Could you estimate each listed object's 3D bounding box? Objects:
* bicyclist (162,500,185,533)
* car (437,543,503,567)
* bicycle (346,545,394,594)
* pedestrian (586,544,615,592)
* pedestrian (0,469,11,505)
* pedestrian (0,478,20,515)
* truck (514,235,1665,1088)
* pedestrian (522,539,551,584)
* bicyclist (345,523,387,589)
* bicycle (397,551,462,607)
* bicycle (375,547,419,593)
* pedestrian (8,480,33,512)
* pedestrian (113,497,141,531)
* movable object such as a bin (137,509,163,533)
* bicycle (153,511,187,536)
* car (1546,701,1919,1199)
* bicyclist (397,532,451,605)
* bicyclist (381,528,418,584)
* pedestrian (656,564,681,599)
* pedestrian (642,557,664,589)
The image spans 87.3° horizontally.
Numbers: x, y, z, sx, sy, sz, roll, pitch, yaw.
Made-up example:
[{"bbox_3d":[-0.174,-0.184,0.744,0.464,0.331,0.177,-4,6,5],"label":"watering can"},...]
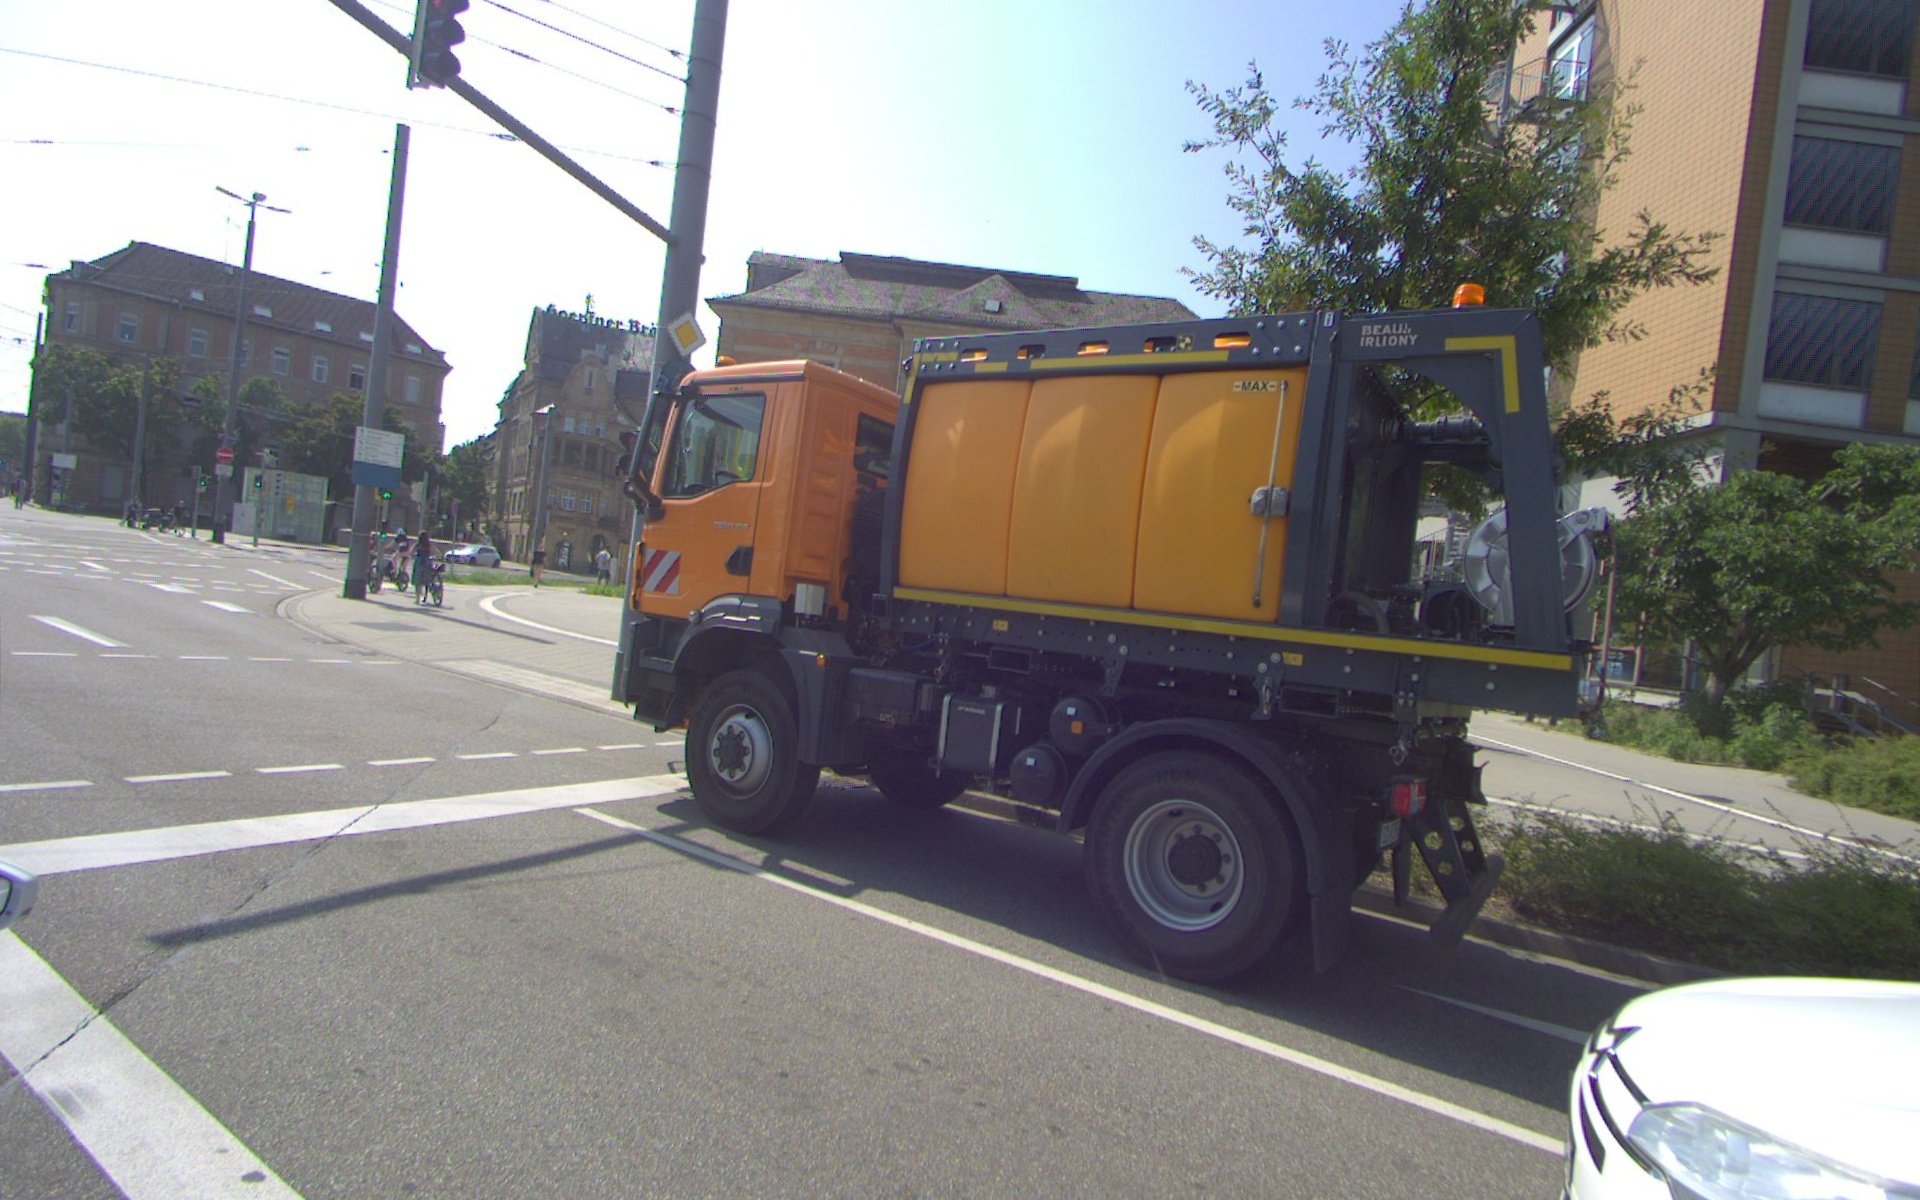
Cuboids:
[{"bbox_3d":[-39.588,-4.209,50.618,0.511,1.548,0.613,7,1,18],"label":"bicyclist"},{"bbox_3d":[-32.768,-2.993,67.439,1.962,1.103,4.002,7,0,9],"label":"car"},{"bbox_3d":[-14.631,-0.767,24.929,1.632,1.068,0.535,7,1,45],"label":"bicycle"},{"bbox_3d":[-13.905,-1.219,38.928,0.808,1.746,0.546,7,1,-9],"label":"pedestrian"},{"bbox_3d":[-82.700,-9.759,86.680,0.960,3.055,0.983,7,1,38],"label":"pedestrian"},{"bbox_3d":[-84.728,-9.233,89.683,0.959,3.055,0.983,7,1,35],"label":"pedestrian"},{"bbox_3d":[0.306,0.011,6.648,6.751,3.173,2.494,7,0,34],"label":"truck"},{"bbox_3d":[-16.068,-1.446,38.156,0.727,1.595,0.787,6,1,-14],"label":"pedestrian"},{"bbox_3d":[-14.763,-1.102,24.995,0.702,1.537,0.626,7,1,44],"label":"bicyclist"},{"bbox_3d":[-11.905,-0.472,22.564,1.795,1.068,0.492,7,1,37],"label":"bicycle"},{"bbox_3d":[-15.235,-0.818,27.216,1.632,1.068,0.535,7,1,45],"label":"bicycle"},{"bbox_3d":[-51.739,-5.730,55.400,0.562,1.623,0.701,7,1,24],"label":"pedestrian"},{"bbox_3d":[-42.204,-4.343,50.954,0.519,1.564,0.852,7,1,24],"label":"pedestrian"},{"bbox_3d":[-41.449,-4.044,51.465,0.502,1.091,0.815,7,1,21],"label":"movable object such as a bin"},{"bbox_3d":[-39.772,-3.864,50.657,1.623,1.068,0.470,7,1,19],"label":"bicycle"},{"bbox_3d":[3.295,1.185,1.077,4.535,1.446,1.770,7,0,33],"label":"car"},{"bbox_3d":[-12.089,-0.712,22.707,0.653,1.537,0.734,7,1,36],"label":"bicyclist"},{"bbox_3d":[-15.074,-1.195,27.062,0.882,1.410,0.529,7,1,44],"label":"bicyclist"},{"bbox_3d":[-12.618,-0.791,43.586,0.679,1.417,0.767,7,1,7],"label":"pedestrian"},{"bbox_3d":[-12.743,-1.126,41.715,0.659,1.229,0.523,6,1,-30],"label":"pedestrian"}]
